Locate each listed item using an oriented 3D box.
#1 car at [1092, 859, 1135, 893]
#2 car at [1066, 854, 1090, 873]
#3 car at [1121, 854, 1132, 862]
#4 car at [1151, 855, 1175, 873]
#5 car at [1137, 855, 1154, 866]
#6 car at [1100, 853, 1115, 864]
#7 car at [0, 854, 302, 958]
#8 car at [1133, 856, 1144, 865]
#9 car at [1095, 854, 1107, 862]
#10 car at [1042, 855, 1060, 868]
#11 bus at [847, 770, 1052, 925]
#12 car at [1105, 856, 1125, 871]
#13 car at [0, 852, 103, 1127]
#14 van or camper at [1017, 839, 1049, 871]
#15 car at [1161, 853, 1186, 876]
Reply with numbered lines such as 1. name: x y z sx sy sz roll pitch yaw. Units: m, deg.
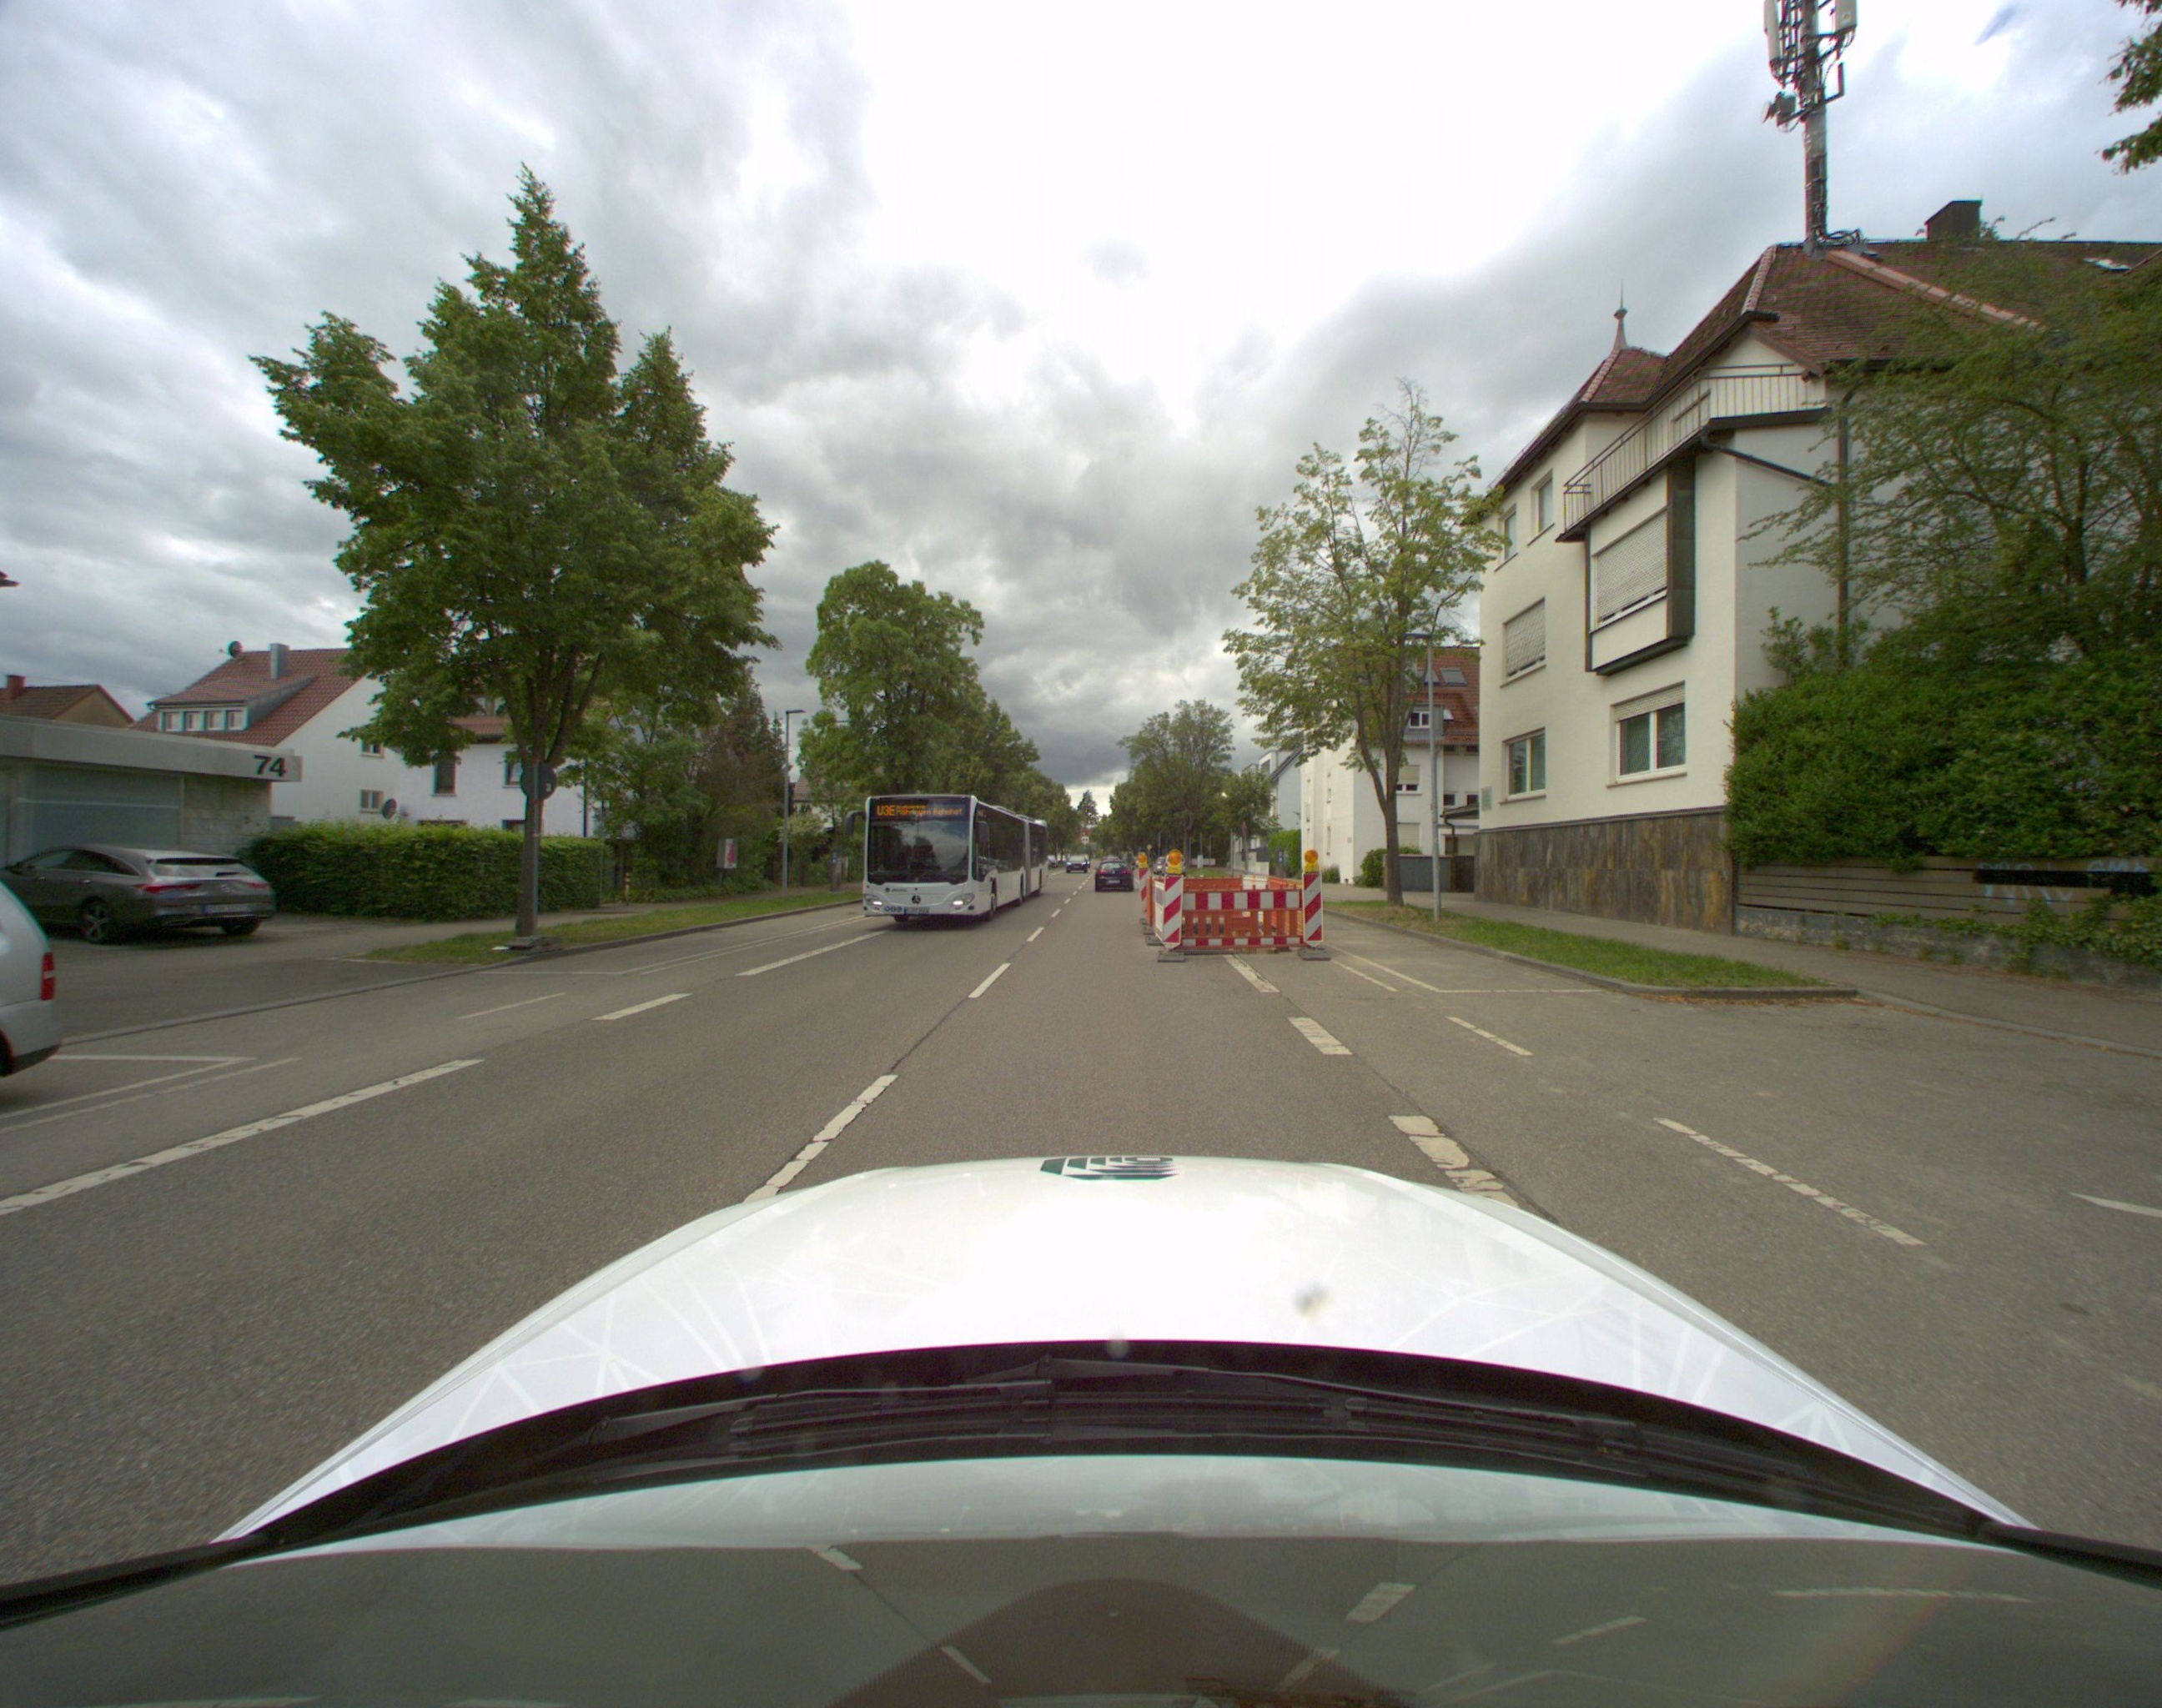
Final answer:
1. car: 1.447 0.971 37.362 1.778 1.449 3.557 0 0 -1
2. car: -0.269 0.841 77.029 1.985 1.668 4.593 -2 0 3
3. car: 9.059 0.771 161.347 1.679 1.432 4.039 0 0 -3
4. car: 6.862 0.816 68.157 1.681 1.493 4.228 -1 0 1
5. car: 8.403 0.816 106.017 2.013 1.443 5.028 0 0 2
6. car: 3.932 0.676 121.136 1.987 1.530 3.999 0 0 0
7. car: -15.197 0.757 13.069 4.054 1.433 1.806 1 0 10
8. car: 8.896 0.961 126.321 1.631 1.420 4.003 -1 0 3
9. car: 3.793 0.836 154.522 1.989 1.508 3.995 0 -1 -3
10. car: -3.970 0.952 108.219 1.809 1.652 4.703 0 0 4
11. bus: -3.125 -0.019 26.398 2.793 3.288 18.057 0 -1 3
12. car: 3.646 0.954 85.776 1.985 1.558 4.004 0 0 4
13. car: -7.551 0.806 3.393 1.682 1.684 4.229 0 -1 3
14. van or camper: -4.789 0.107 82.396 2.426 3.009 7.696 0 0 2
15. car: 7.055 0.764 62.406 1.626 1.665 3.649 0 0 2
